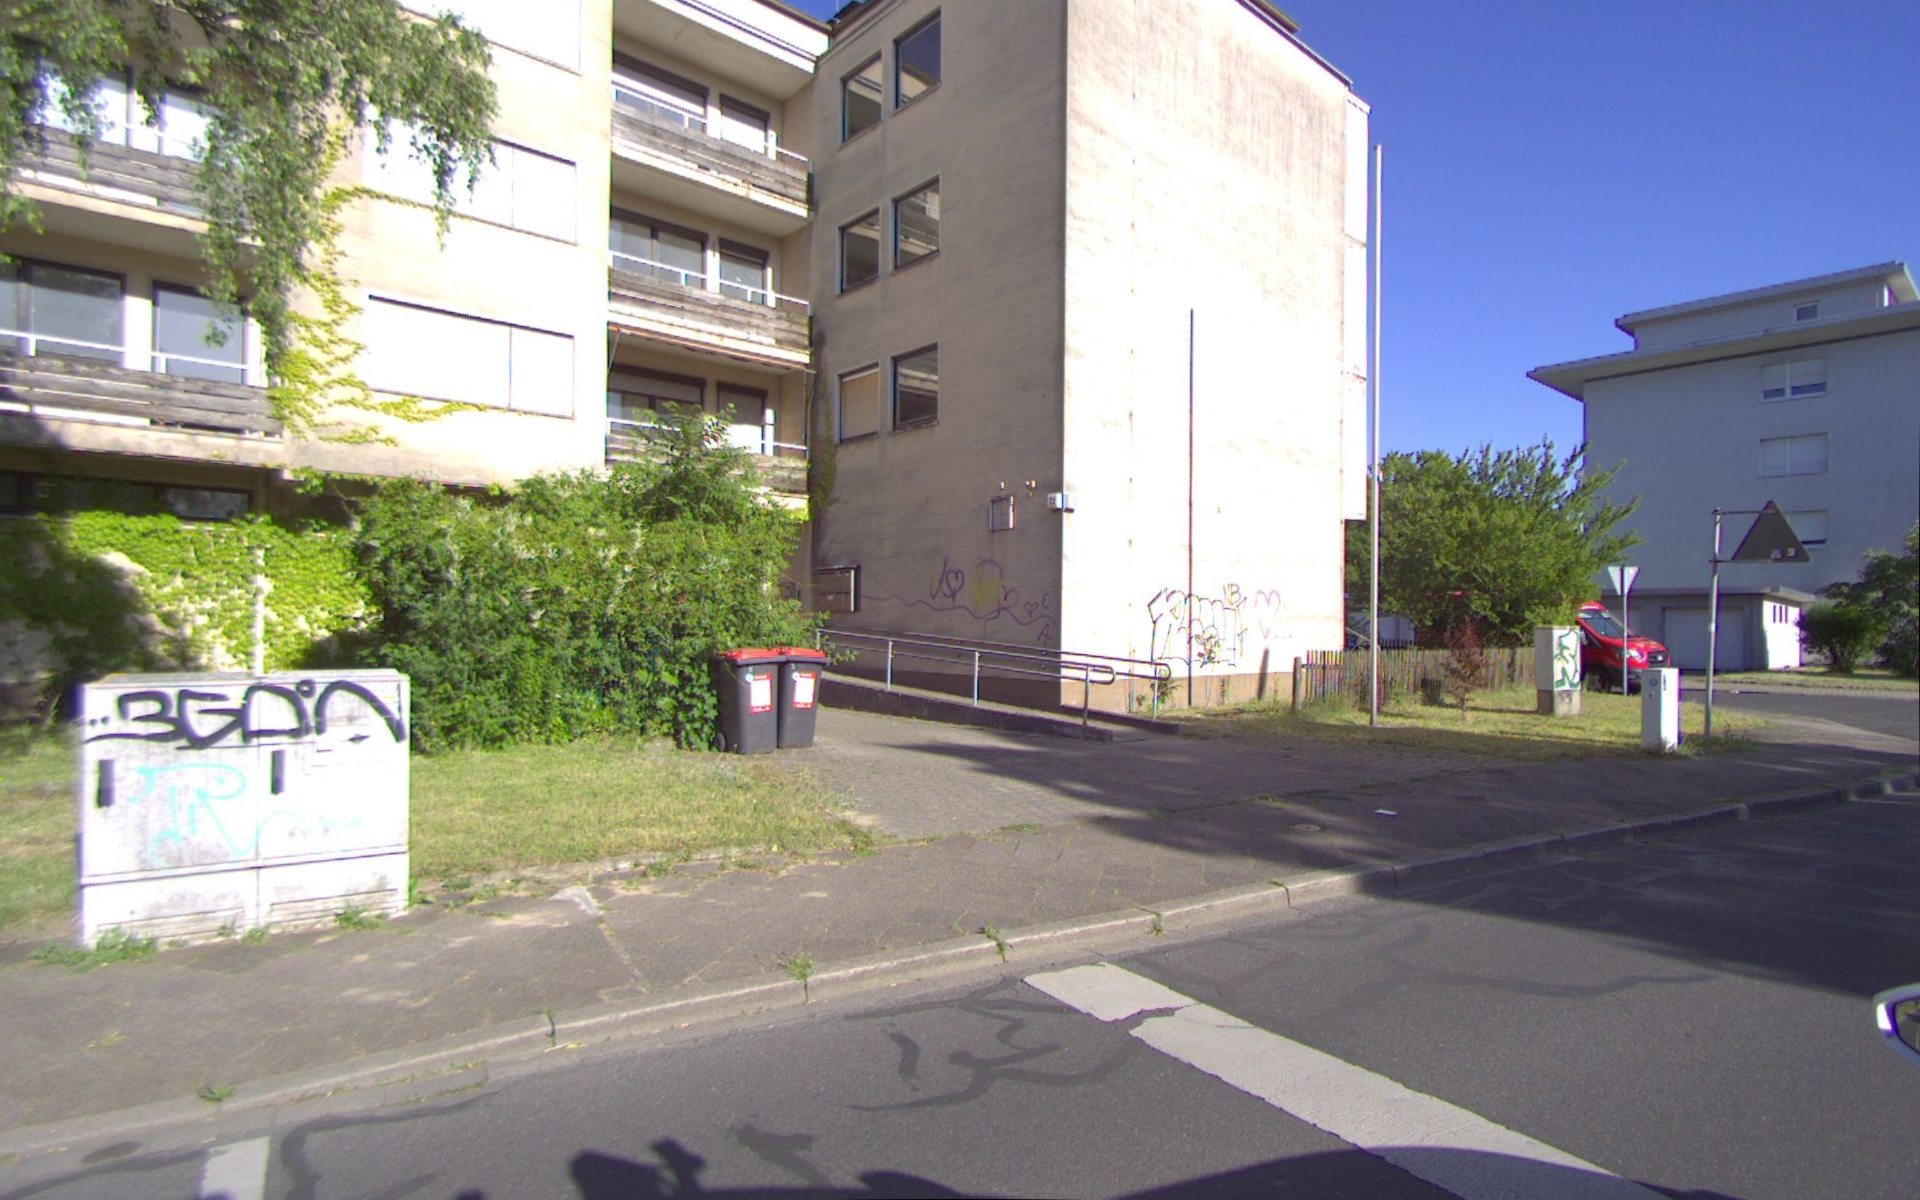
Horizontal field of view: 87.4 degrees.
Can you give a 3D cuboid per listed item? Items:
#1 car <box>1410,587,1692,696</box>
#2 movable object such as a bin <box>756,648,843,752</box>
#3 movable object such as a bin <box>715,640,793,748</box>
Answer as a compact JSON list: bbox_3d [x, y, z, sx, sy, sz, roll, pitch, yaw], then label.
[{"bbox_3d":[14.802,1.006,25.640,2.187,2.461,5.878,-1,-1,-30],"label":"car"},{"bbox_3d":[-1.749,1.065,10.973,0.618,1.062,0.700,0,-2,37],"label":"movable object such as a bin"},{"bbox_3d":[-2.147,0.957,10.473,0.556,1.067,0.555,0,-2,38],"label":"movable object such as a bin"}]
